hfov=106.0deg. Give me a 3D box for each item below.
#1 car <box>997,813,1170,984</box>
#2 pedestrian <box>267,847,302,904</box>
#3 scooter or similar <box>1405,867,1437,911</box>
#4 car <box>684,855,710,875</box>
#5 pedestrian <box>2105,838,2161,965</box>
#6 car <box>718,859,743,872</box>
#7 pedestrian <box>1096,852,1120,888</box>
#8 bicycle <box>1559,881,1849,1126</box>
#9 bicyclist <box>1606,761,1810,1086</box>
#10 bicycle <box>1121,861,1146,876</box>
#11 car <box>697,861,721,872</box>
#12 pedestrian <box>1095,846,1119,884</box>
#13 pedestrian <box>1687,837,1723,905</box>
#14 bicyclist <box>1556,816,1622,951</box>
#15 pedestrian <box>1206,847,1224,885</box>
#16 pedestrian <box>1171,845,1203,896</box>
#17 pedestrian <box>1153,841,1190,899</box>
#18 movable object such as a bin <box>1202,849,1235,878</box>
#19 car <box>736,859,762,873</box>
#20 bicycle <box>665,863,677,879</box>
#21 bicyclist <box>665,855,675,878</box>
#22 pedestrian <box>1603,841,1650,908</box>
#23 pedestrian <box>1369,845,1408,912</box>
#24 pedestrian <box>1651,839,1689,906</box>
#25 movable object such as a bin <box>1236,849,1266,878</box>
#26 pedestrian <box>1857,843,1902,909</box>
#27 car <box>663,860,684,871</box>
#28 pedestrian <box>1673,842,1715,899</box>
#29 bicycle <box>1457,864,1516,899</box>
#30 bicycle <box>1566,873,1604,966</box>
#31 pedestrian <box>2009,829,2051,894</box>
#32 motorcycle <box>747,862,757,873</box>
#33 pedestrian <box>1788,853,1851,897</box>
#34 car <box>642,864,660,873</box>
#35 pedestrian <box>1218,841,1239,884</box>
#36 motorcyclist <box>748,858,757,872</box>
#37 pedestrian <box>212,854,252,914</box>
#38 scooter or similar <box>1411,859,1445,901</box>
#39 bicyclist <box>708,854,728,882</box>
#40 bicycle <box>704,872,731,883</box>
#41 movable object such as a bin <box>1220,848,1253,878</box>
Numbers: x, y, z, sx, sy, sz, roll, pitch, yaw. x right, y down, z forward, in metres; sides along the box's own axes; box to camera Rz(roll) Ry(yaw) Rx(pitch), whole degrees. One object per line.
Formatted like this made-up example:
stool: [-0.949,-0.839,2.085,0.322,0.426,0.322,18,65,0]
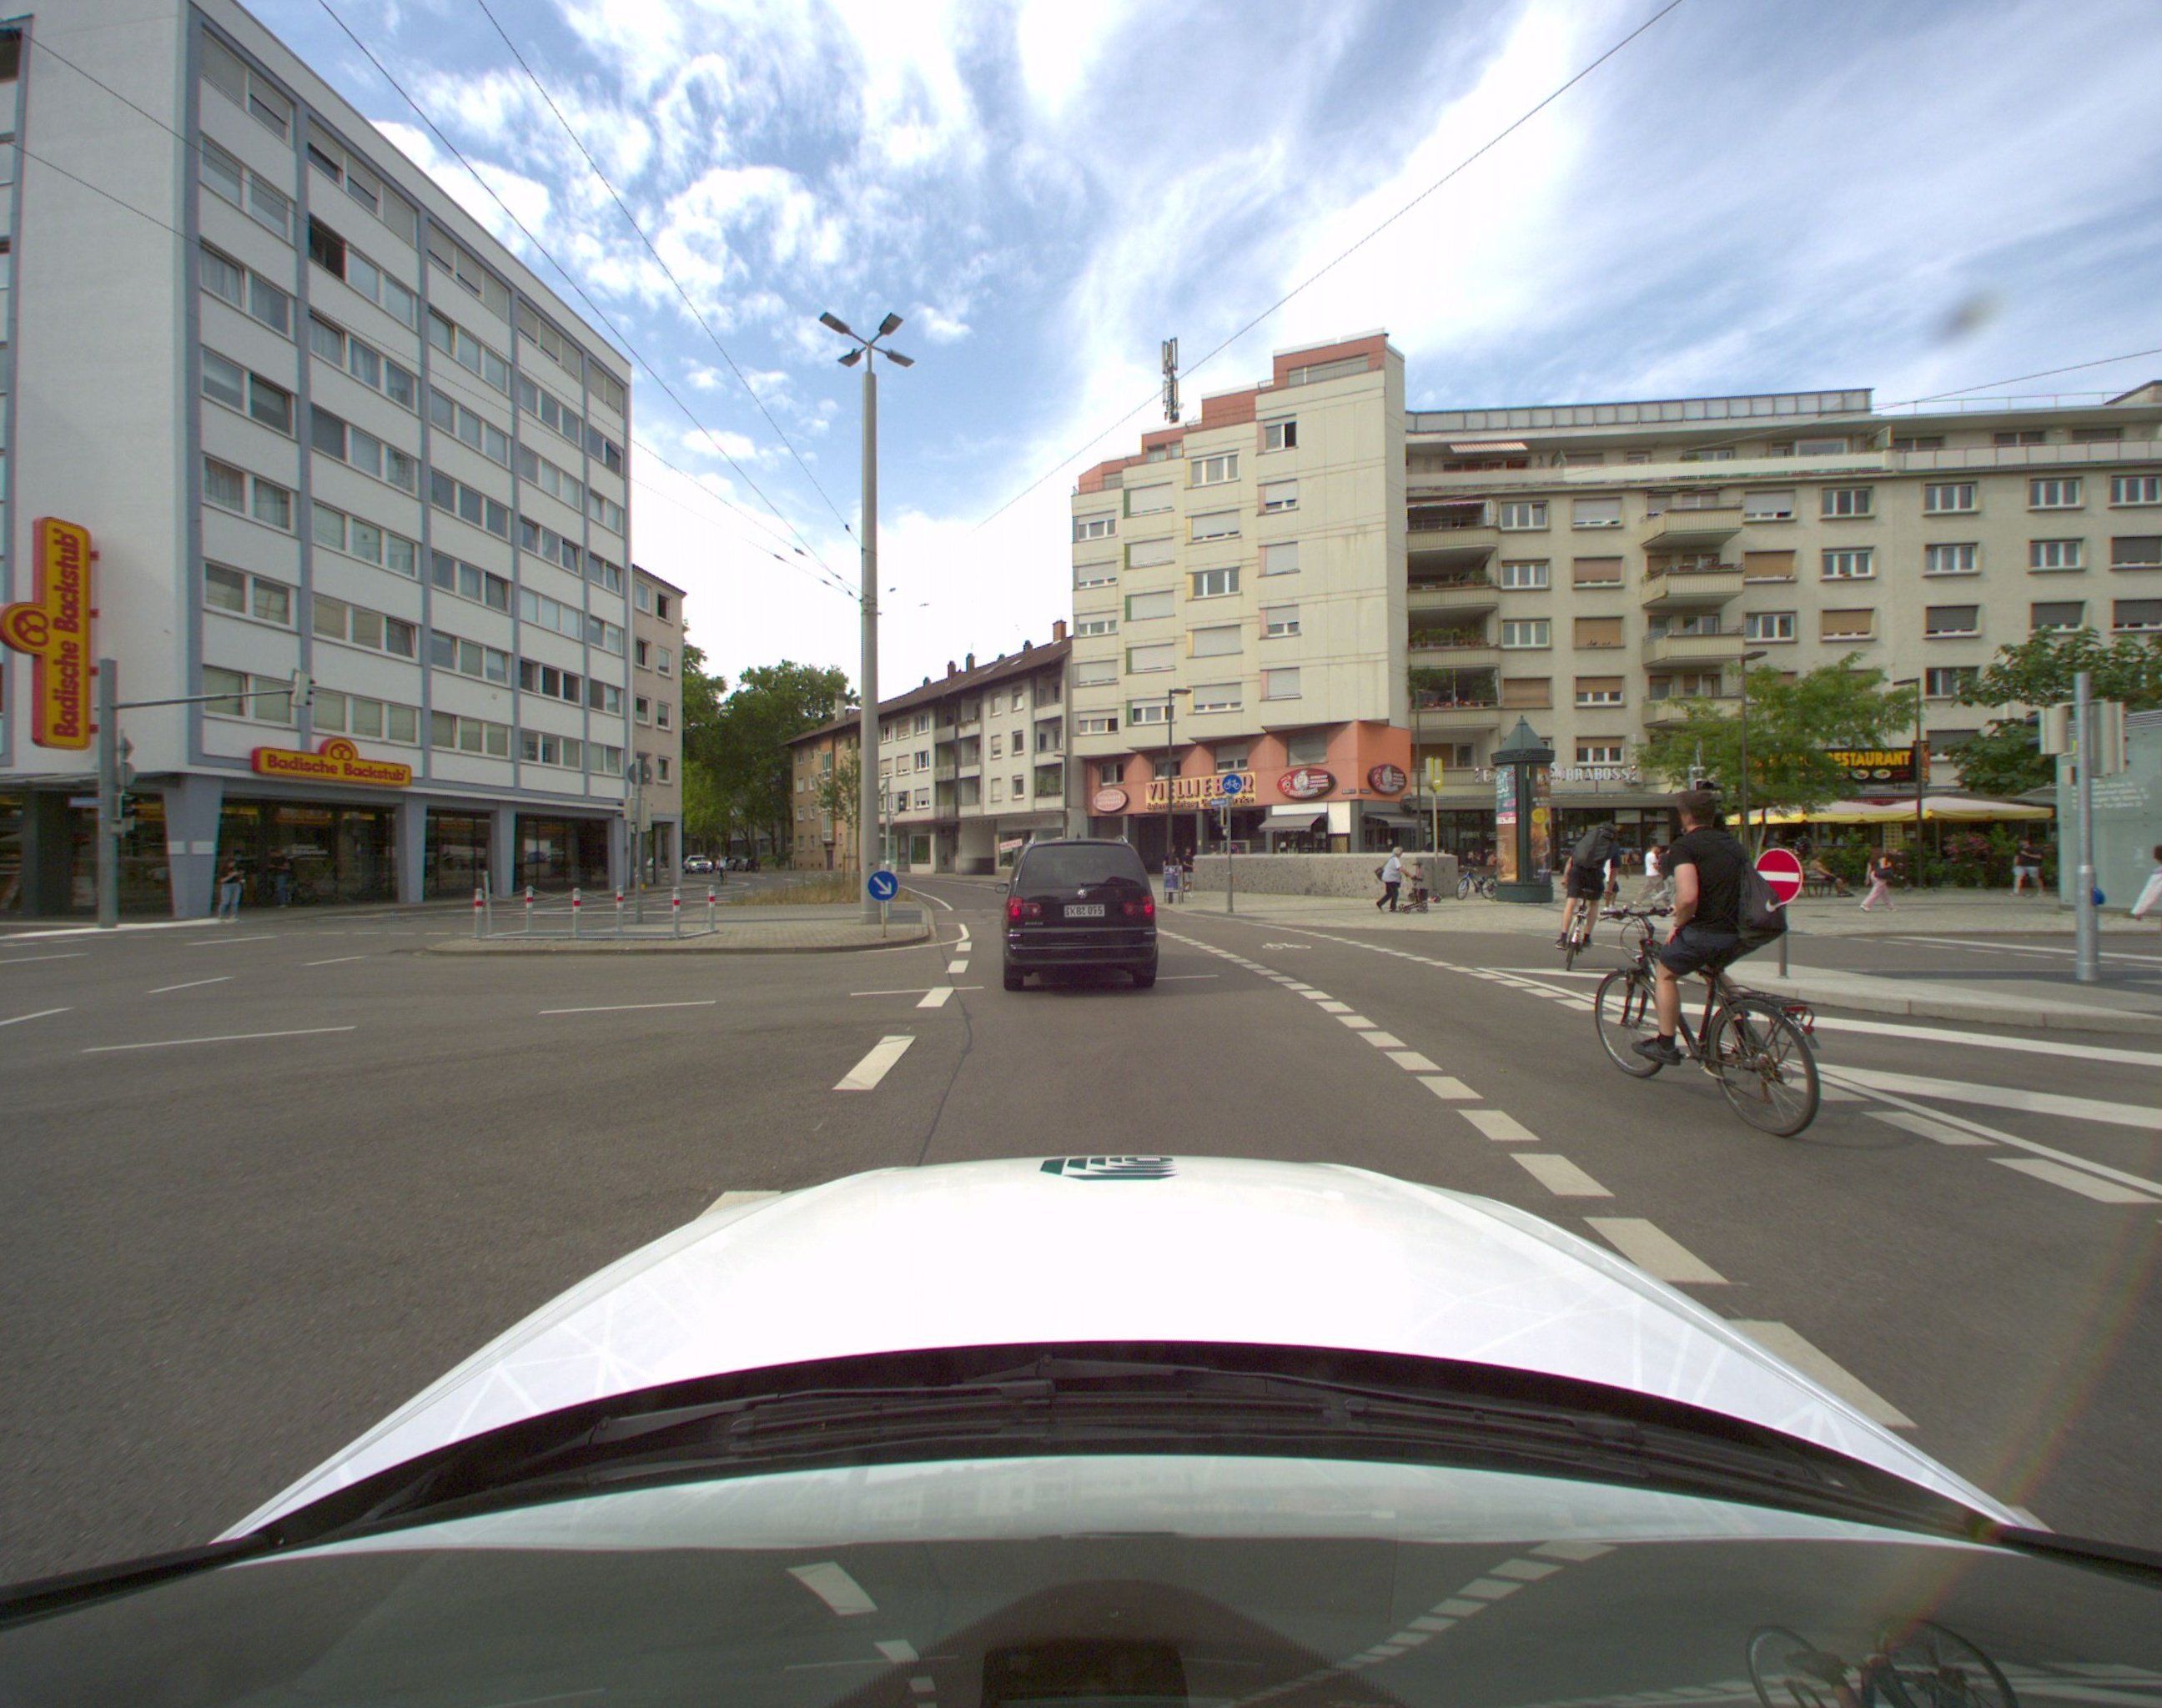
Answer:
car: [-0.152,0.508,10.385,1.810,1.766,3.729,0,-2,-6]
pedestrian: [-24.821,0.668,25.380,0.473,1.765,0.590,0,0,5]
scooter or similar: [8.917,0.911,21.372,0.694,1.110,0.611,-1,0,18]
car: [-35.023,0.978,74.264,1.843,1.660,4.283,0,0,-30]
pedestrian: [13.052,0.563,9.711,0.551,1.501,0.844,0,-2,-10]
car: [-41.026,1.365,95.291,1.671,1.422,3.901,0,1,-40]
pedestrian: [1.306,0.764,39.421,0.609,1.668,0.933,-4,2,-41]
bicycle: [3.664,0.768,5.027,0.404,1.122,2.020,0,0,5]
bicyclist: [3.587,0.364,4.735,0.556,1.709,0.864,0,0,5]
bicycle: [3.157,0.856,49.217,0.456,0.896,1.659,0,1,-40]
car: [-46.803,1.594,102.469,1.690,1.394,4.408,1,-1,-40]
pedestrian: [1.305,0.557,41.116,0.661,1.852,0.960,-4,1,-36]
pedestrian: [16.093,0.438,21.011,0.590,1.737,0.415,0,0,5]
bicyclist: [6.743,0.372,10.841,0.691,1.709,0.913,0,0,29]
pedestrian: [6.024,0.518,36.628,0.476,1.672,0.583,-3,2,-38]
pedestrian: [3.795,0.580,29.212,0.680,1.799,0.875,-3,2,-45]
pedestrian: [3.210,0.556,28.828,0.725,1.971,1.001,-3,2,-45]
movable object such as a bin: [7.025,0.479,41.540,1.155,1.460,1.209,0,0,-40]
car: [-37.496,1.330,92.000,1.671,1.422,3.821,0,1,-40]
bicycle: [-31.234,1.274,62.009,0.516,1.225,1.545,0,0,-40]
bicyclist: [-31.353,0.921,62.147,0.542,1.743,0.749,0,-1,-40]
pedestrian: [13.832,0.511,20.668,0.799,1.680,0.628,0,0,7]
pedestrian: [8.178,0.651,21.664,0.927,1.740,0.689,-1,0,19]
pedestrian: [15.544,0.490,21.505,0.696,1.737,0.415,0,0,5]
movable object such as a bin: [8.988,0.473,42.986,1.010,1.515,1.154,0,0,-40]
pedestrian: [20.057,0.551,20.454,0.673,1.641,0.440,0,0,5]
car: [-57.551,1.625,114.951,1.643,1.470,4.267,1,-1,-40]
pedestrian: [16.911,0.451,22.477,0.814,1.576,0.415,0,0,7]
bicycle: [12.594,0.837,25.250,2.459,1.013,0.539,0,0,-36]
bicycle: [6.660,0.825,10.791,0.386,1.122,1.931,0,-2,30]
pedestrian: [27.808,0.210,23.871,0.545,1.867,0.585,0,1,1]
motorcycle: [-30.710,1.283,76.013,1.250,1.007,0.341,0,0,41]
pedestrian: [21.857,0.616,24.122,1.025,1.245,0.937,2,0,8]
car: [-68.573,2.297,129.913,1.690,1.394,4.408,1,-1,-40]
pedestrian: [6.731,0.384,37.246,0.677,1.903,0.583,-3,2,-39]
motorcyclist: [-30.663,1.024,75.945,0.668,1.312,0.528,0,0,41]
pedestrian: [-22.120,0.767,21.225,0.497,1.559,0.518,0,0,-2]
scooter or similar: [10.373,0.756,24.350,0.286,1.212,1.119,0,0,-17]
bicyclist: [-21.876,0.848,49.093,0.604,1.646,1.040,0,0,8]
bicycle: [-21.941,1.395,49.245,0.480,0.588,2.003,0,0,9]
movable object such as a bin: [8.049,0.461,42.218,1.204,1.515,1.183,0,0,-40]
